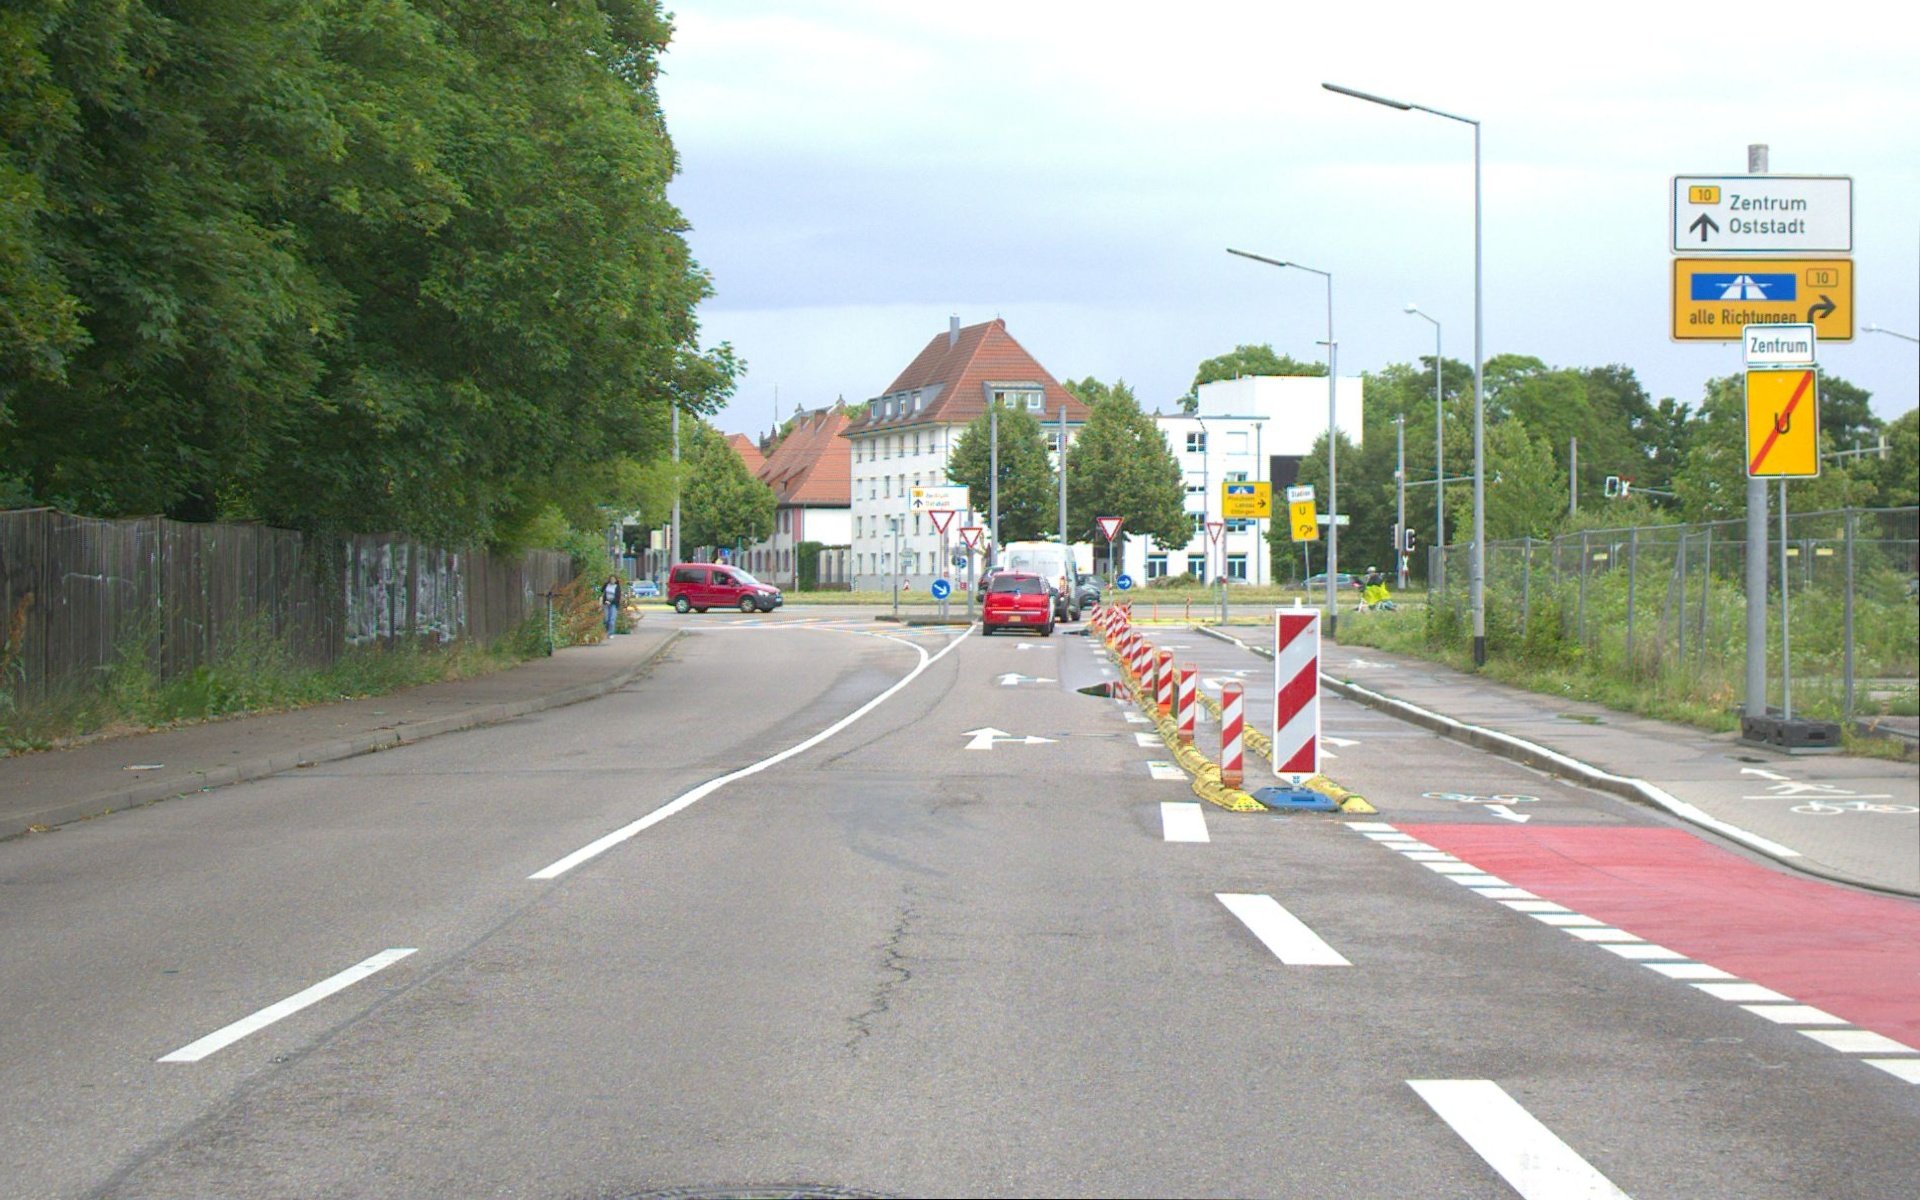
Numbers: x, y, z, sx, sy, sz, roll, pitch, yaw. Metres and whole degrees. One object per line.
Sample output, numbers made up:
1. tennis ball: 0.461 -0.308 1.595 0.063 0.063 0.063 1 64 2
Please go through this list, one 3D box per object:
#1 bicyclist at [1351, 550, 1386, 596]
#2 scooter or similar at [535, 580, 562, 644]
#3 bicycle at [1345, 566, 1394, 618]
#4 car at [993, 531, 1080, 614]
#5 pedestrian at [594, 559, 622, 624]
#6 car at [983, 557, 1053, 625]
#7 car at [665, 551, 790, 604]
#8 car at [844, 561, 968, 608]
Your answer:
1. bicyclist: 12.496 -0.838 105.192 1.062 1.396 0.615 0 0 4
2. scooter or similar: -7.611 0.208 63.670 0.422 1.166 1.304 0 1 -4
3. bicycle: 12.528 -0.244 105.198 1.477 1.606 0.606 0 0 4
4. car: 2.482 -0.887 109.785 2.196 2.531 4.961 1 1 8
5. pedestrian: -8.325 -0.202 81.306 0.612 1.524 0.724 0 0 -3
6. car: 1.466 -0.237 86.396 1.673 1.635 3.627 1 1 2
7. car: -8.589 -0.830 127.327 4.197 1.911 2.114 0 0 13
8. car: -2.061 -0.602 130.997 4.605 1.789 2.110 0 1 44
